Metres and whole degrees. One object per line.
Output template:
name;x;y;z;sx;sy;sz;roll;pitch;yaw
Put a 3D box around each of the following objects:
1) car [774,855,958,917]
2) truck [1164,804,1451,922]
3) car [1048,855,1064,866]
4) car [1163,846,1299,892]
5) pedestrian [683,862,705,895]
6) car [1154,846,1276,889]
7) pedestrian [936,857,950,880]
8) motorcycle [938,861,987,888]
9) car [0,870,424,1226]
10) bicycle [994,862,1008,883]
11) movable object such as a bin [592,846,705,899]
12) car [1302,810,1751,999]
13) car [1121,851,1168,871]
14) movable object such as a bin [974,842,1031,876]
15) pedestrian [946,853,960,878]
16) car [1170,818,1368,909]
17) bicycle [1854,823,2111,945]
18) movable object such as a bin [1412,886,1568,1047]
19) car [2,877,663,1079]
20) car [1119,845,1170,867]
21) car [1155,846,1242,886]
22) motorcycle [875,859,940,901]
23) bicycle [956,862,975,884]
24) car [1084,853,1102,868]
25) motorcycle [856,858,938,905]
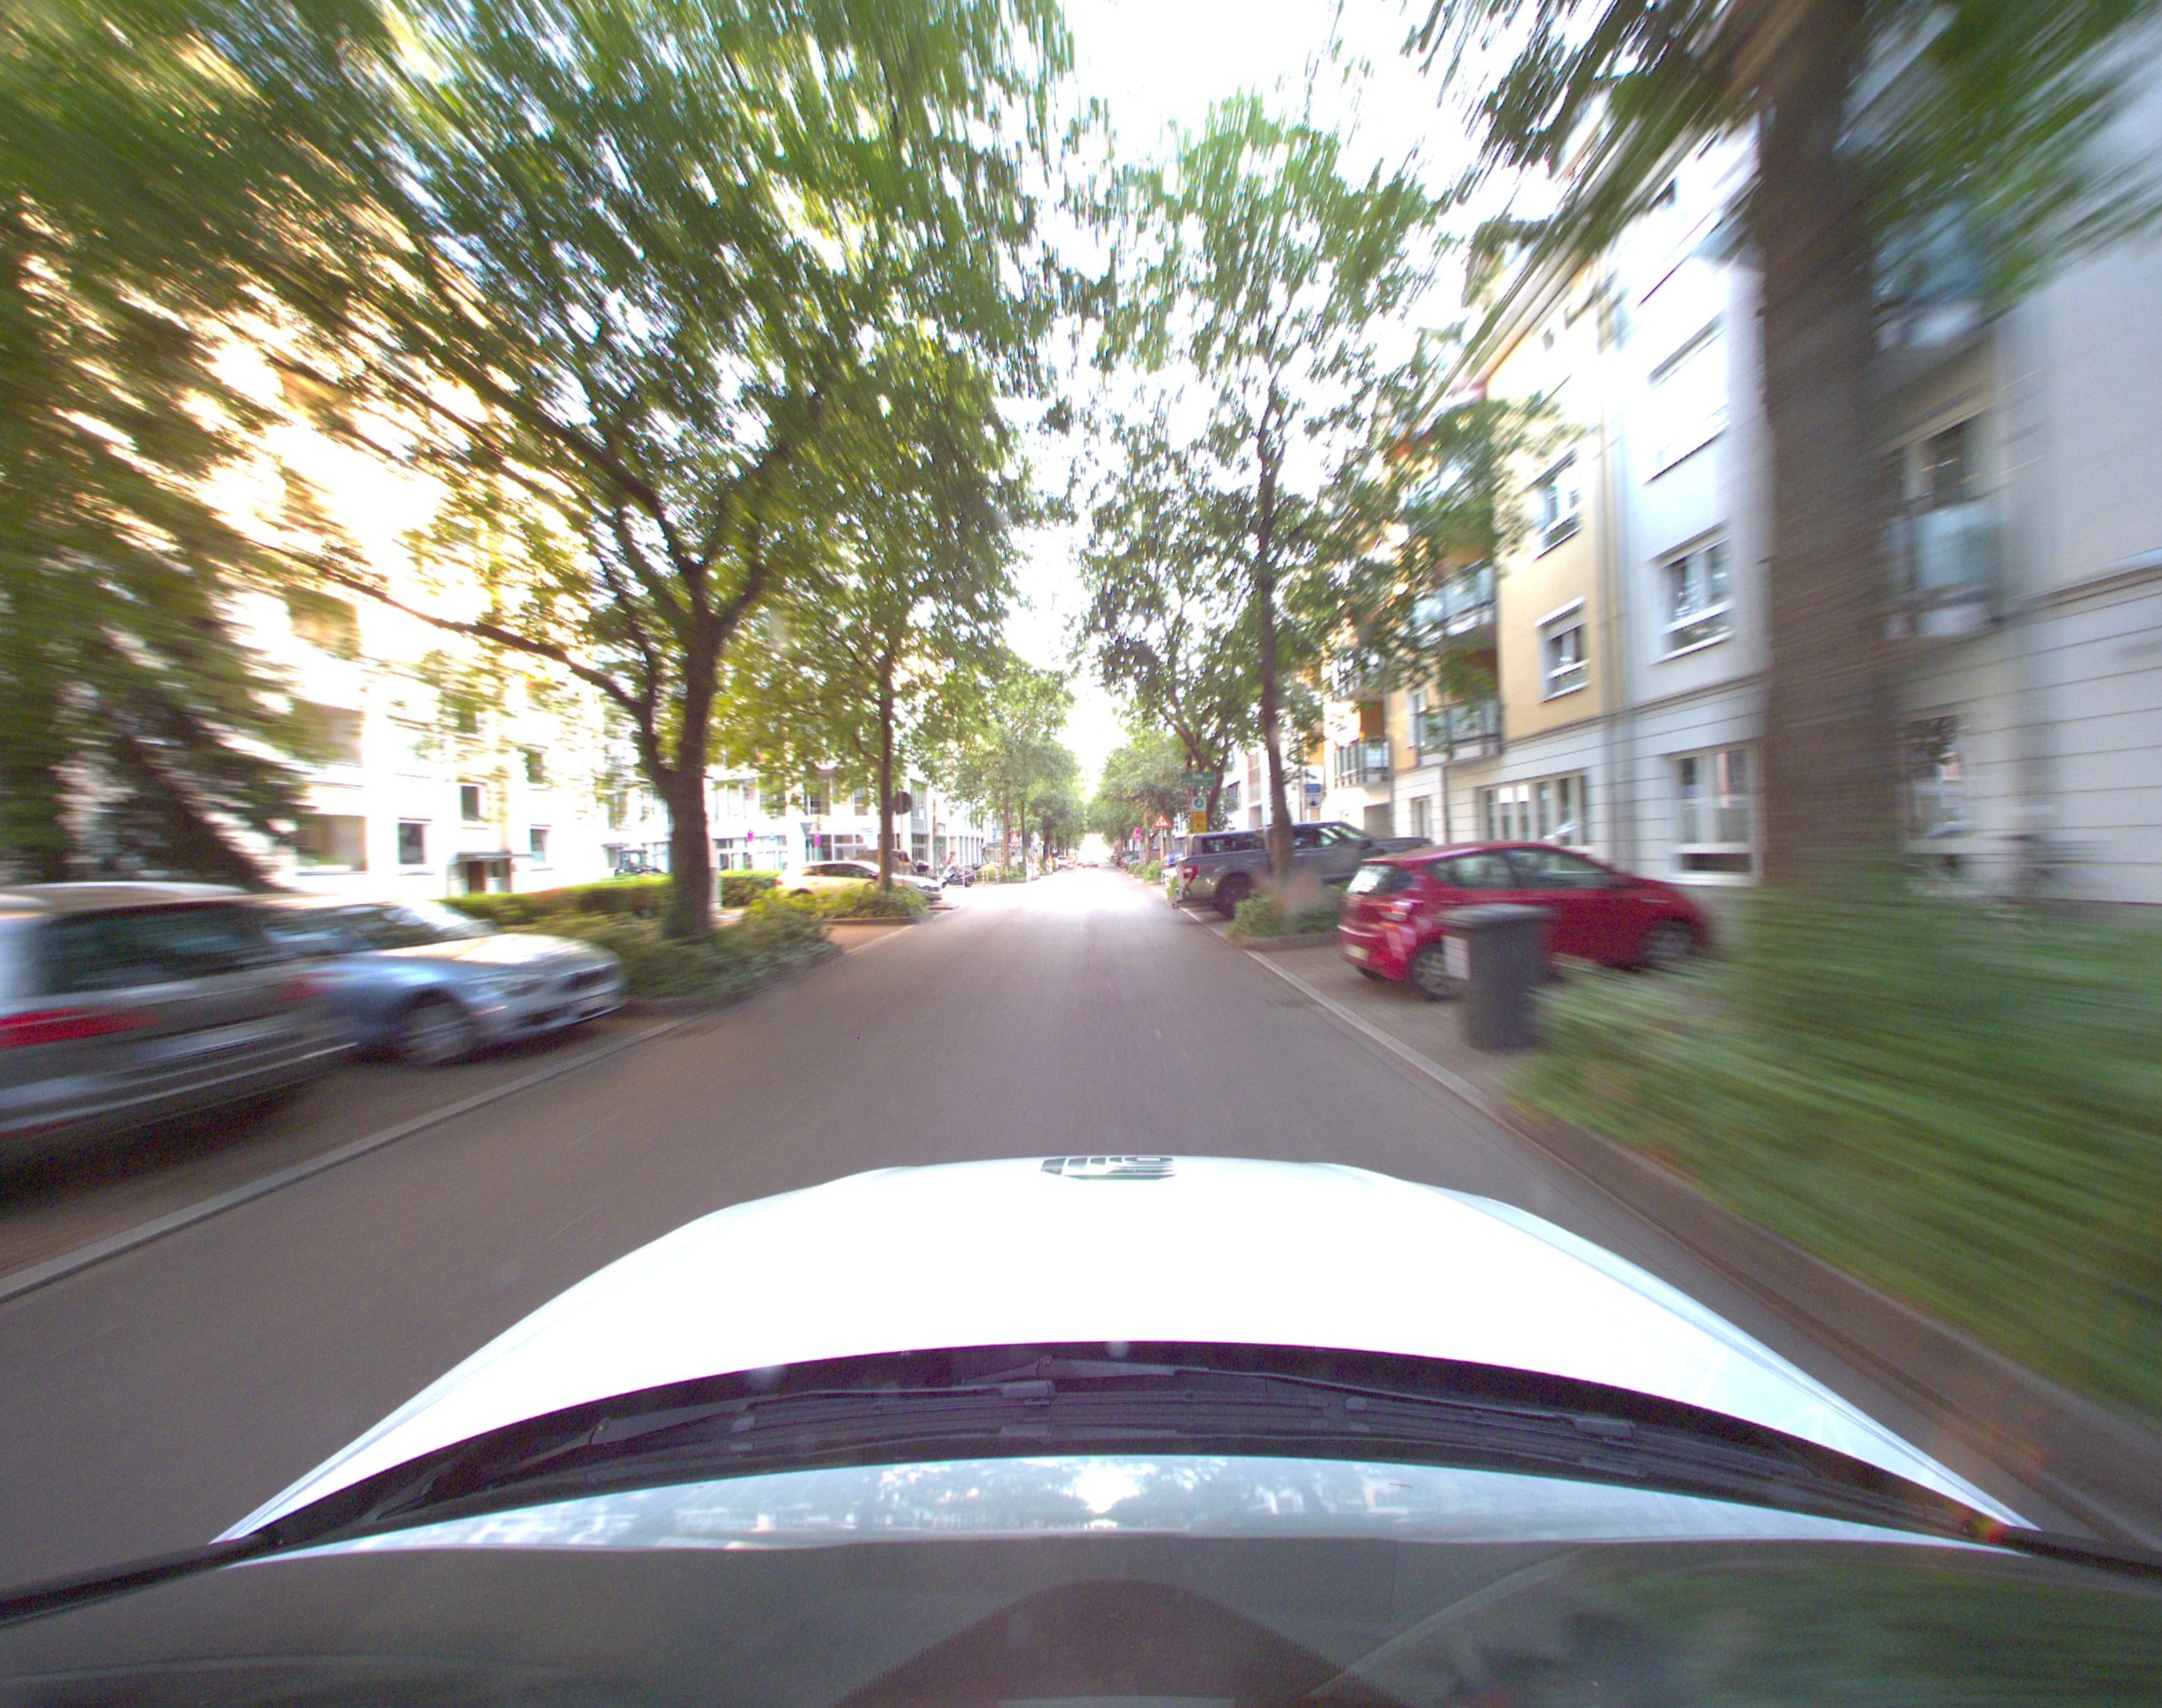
car;-6.036;0.878;23.226;4.599;1.552;2.077;-2;0;3
truck;4.924;0.193;18.441;5.866;2.311;2.213;-2;0;1
car;-3.232;0.797;105.952;1.989;1.288;3.995;-2;0;-3
car;5.512;0.553;30.460;4.764;1.520;1.992;-2;0;2
pedestrian;-21.992;1.375;46.271;0.894;1.851;0.866;-2;0;-36
car;5.335;0.518;32.857;4.606;1.571;2.011;-2;0;0
pedestrian;-9.516;0.996;56.280;0.767;1.536;0.643;-2;0;1
motorcycle;-6.253;1.069;43.059;2.368;1.281;1.055;-2;0;-39
car;-6.629;0.961;4.839;3.967;1.565;1.933;-2;0;6
bicycle;-4.568;1.045;46.662;0.682;1.152;1.978;-2;0;-4
movable object such as a bin;-23.834;1.034;44.873;5.581;2.692;2.296;-2;0;21
car;4.576;0.483;8.821;3.765;1.544;1.877;-4;0;-1
car;5.430;0.600;69.856;3.971;1.585;2.001;-2;0;2
movable object such as a bin;-5.874;0.364;61.210;4.039;2.383;2.780;-2;0;-5
pedestrian;-8.800;0.782;55.948;0.736;1.690;0.607;-2;0;2
car;4.771;0.229;21.186;4.586;2.066;2.197;-2;0;-1
bicycle;8.672;0.255;7.968;0.422;1.037;1.883;-3;0;2
movable object such as a bin;3.113;0.830;6.277;0.758;1.084;0.786;-4;0;2
car;-6.483;1.019;7.466;4.273;1.429;1.879;-2;0;0
car;6.106;0.219;78.874;4.723;2.013;2.000;-1;0;0
car;5.081;0.518;35.520;3.527;1.564;1.832;-2;0;0
motorcycle;-6.191;0.922;29.014;2.225;1.420;0.858;-2;0;32
bicycle;-6.596;1.088;46.658;0.680;1.152;1.982;-2;0;2
car;1.434;0.785;99.385;2.003;1.613;4.119;-2;0;0
motorcycle;-6.056;0.902;26.938;2.443;1.420;0.911;-2;0;2
